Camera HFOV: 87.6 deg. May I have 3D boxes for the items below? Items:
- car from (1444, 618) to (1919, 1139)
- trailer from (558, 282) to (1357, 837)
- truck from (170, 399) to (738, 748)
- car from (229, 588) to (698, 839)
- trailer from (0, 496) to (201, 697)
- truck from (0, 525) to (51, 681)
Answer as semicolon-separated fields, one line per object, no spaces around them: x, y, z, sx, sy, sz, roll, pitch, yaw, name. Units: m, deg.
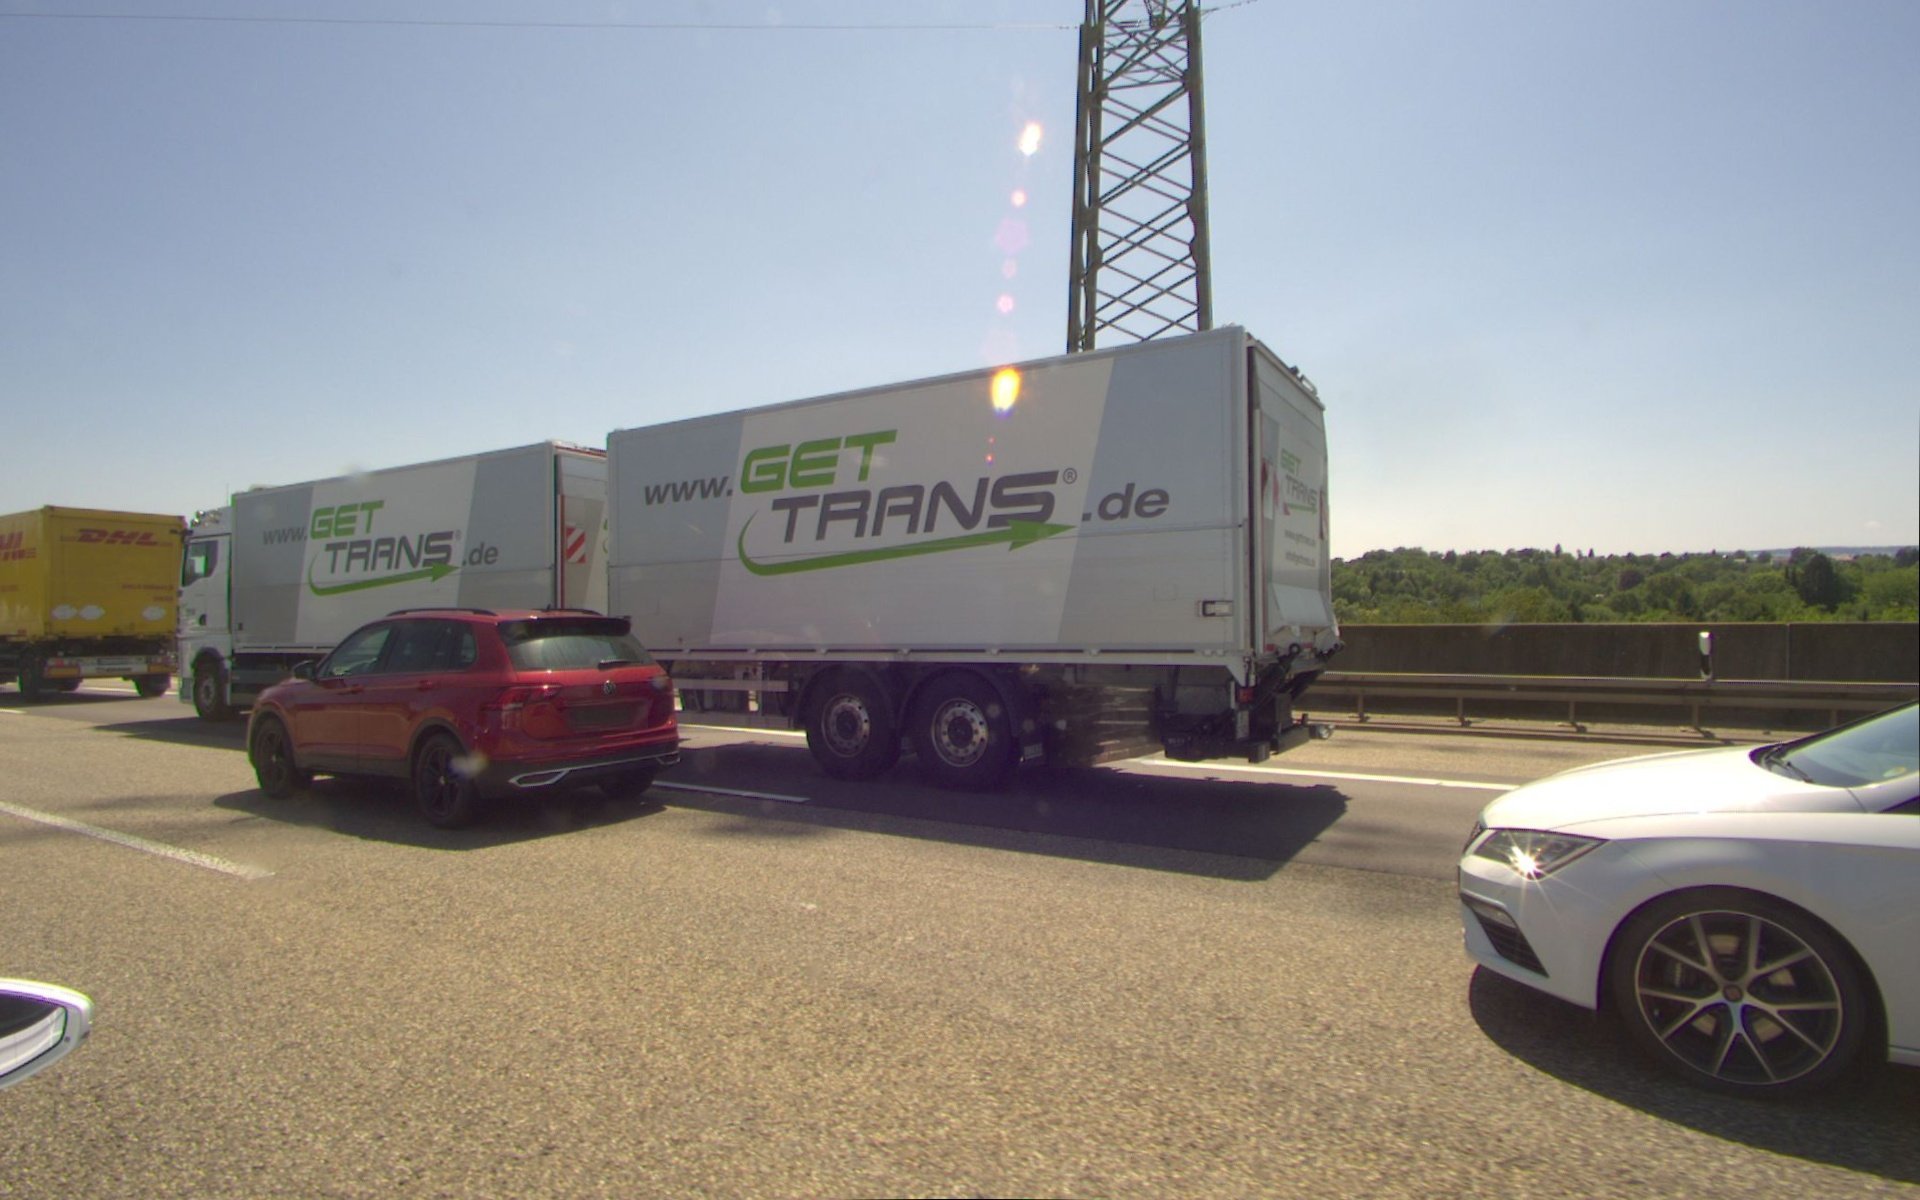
3.973;0.801;3.049;4.365;1.470;1.706;-1;-2;32;car
-0.403;-0.146;10.499;8.097;3.940;2.894;-2;-2;32;trailer
-8.234;-0.131;15.429;10.459;3.984;2.847;-2;-2;32;truck
-4.386;0.852;8.665;4.224;1.700;1.706;-2;-2;32;car
-21.875;0.076;24.100;8.850;4.139;2.679;-2;-2;31;trailer
-29.833;0.202;28.893;9.796;4.139;2.696;-2;-2;32;truck
